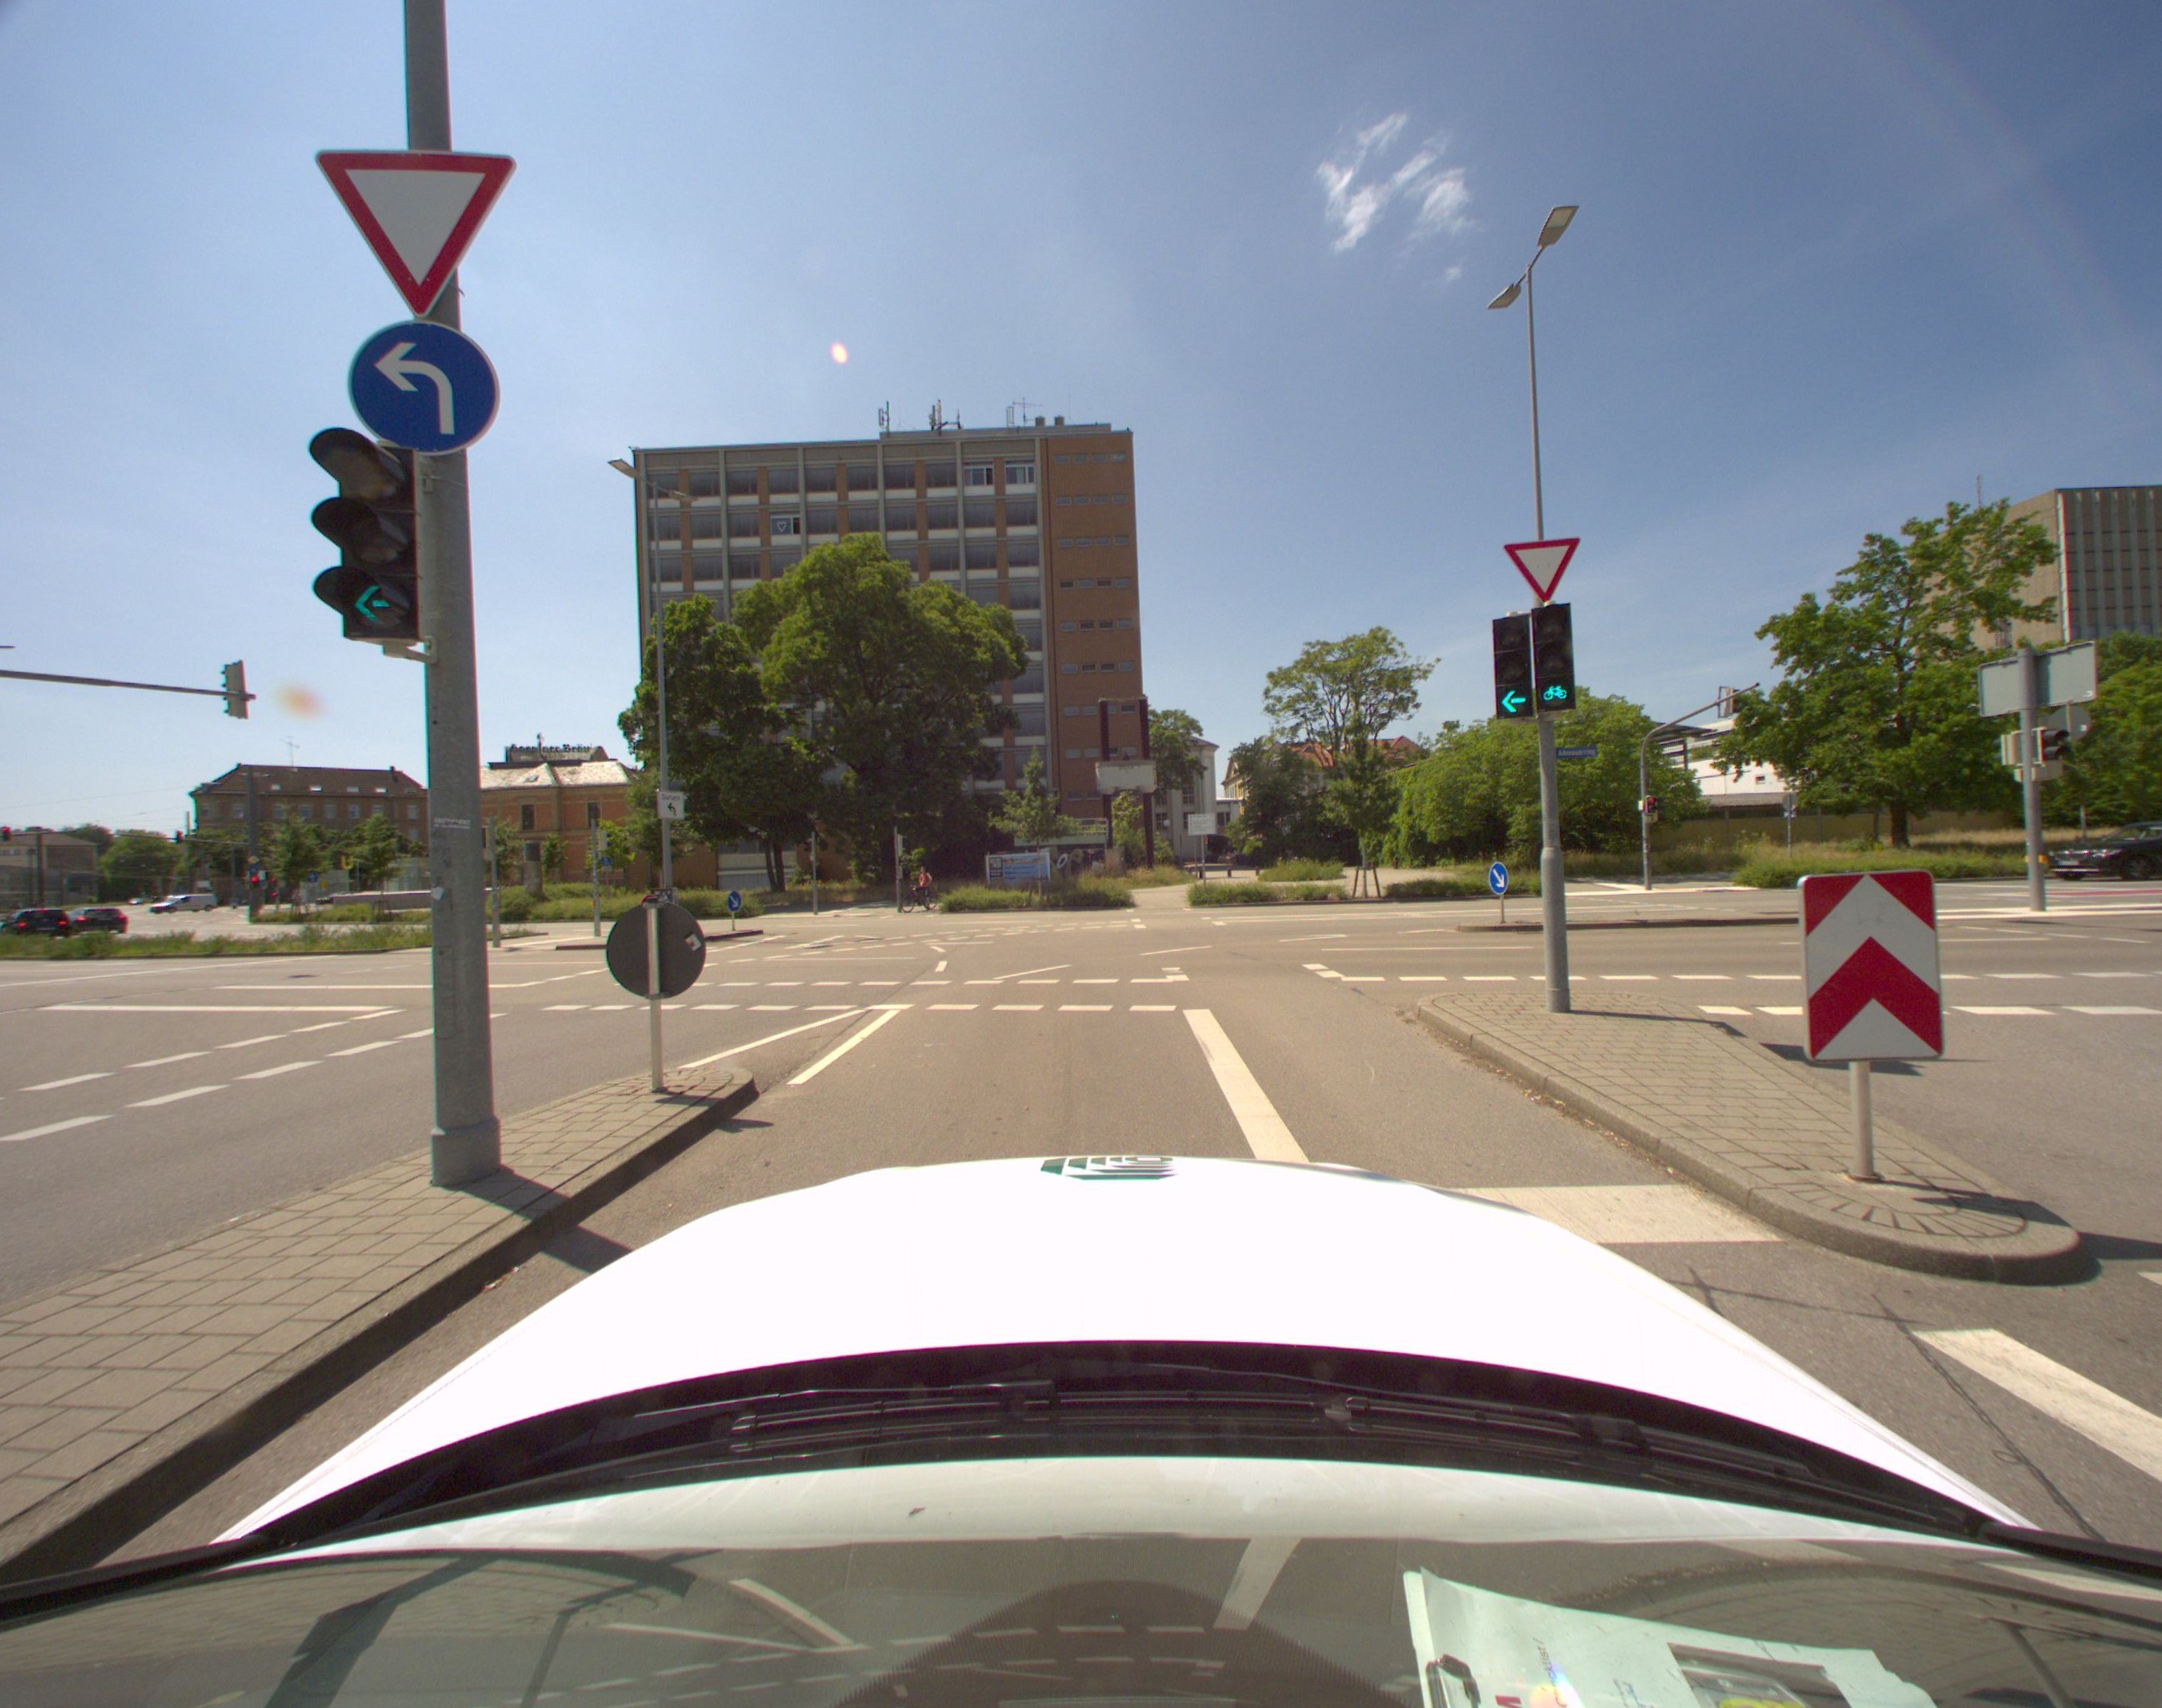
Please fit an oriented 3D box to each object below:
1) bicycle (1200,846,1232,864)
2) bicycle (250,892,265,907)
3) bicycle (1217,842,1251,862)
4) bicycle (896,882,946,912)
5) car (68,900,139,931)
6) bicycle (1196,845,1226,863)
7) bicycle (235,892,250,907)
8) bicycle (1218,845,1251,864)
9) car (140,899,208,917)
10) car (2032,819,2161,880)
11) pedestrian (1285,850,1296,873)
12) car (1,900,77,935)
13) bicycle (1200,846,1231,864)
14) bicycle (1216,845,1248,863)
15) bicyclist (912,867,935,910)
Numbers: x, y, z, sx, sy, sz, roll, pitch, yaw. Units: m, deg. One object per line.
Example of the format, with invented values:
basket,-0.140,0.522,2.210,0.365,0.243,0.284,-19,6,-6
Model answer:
bicycle,15.210,0.074,91.905,3.432,2.014,0.761,0,0,3
bicycle,-108.193,5.964,107.010,3.140,1.788,0.618,0,0,31
bicycle,15.830,-0.174,84.206,3.432,2.014,0.761,0,0,3
bicycle,-6.583,1.763,33.591,0.551,1.045,2.009,-1,1,43
car,-53.845,3.378,44.856,4.528,1.557,1.733,-3,-1,30
bicycle,15.049,-0.013,94.404,3.432,2.014,0.761,0,0,3
bicycle,-109.005,5.891,105.809,3.140,1.788,0.618,0,0,31
bicycle,16.495,0.023,87.686,3.432,2.014,0.761,0,0,3
car,-92.823,5.514,83.450,1.797,1.627,4.334,0,0,11
car,30.566,-0.183,23.181,4.516,1.586,1.713,-3,-1,7
pedestrian,15.557,0.561,60.396,0.637,1.665,0.707,0,0,1
car,-48.378,2.931,37.811,3.948,1.463,1.636,-3,-1,30
bicycle,15.400,0.078,93.060,3.432,2.014,0.761,0,0,3
bicycle,16.716,-0.005,90.282,3.432,2.014,0.761,0,0,3
bicyclist,-6.497,1.418,33.694,0.544,1.715,0.707,-1,1,43
